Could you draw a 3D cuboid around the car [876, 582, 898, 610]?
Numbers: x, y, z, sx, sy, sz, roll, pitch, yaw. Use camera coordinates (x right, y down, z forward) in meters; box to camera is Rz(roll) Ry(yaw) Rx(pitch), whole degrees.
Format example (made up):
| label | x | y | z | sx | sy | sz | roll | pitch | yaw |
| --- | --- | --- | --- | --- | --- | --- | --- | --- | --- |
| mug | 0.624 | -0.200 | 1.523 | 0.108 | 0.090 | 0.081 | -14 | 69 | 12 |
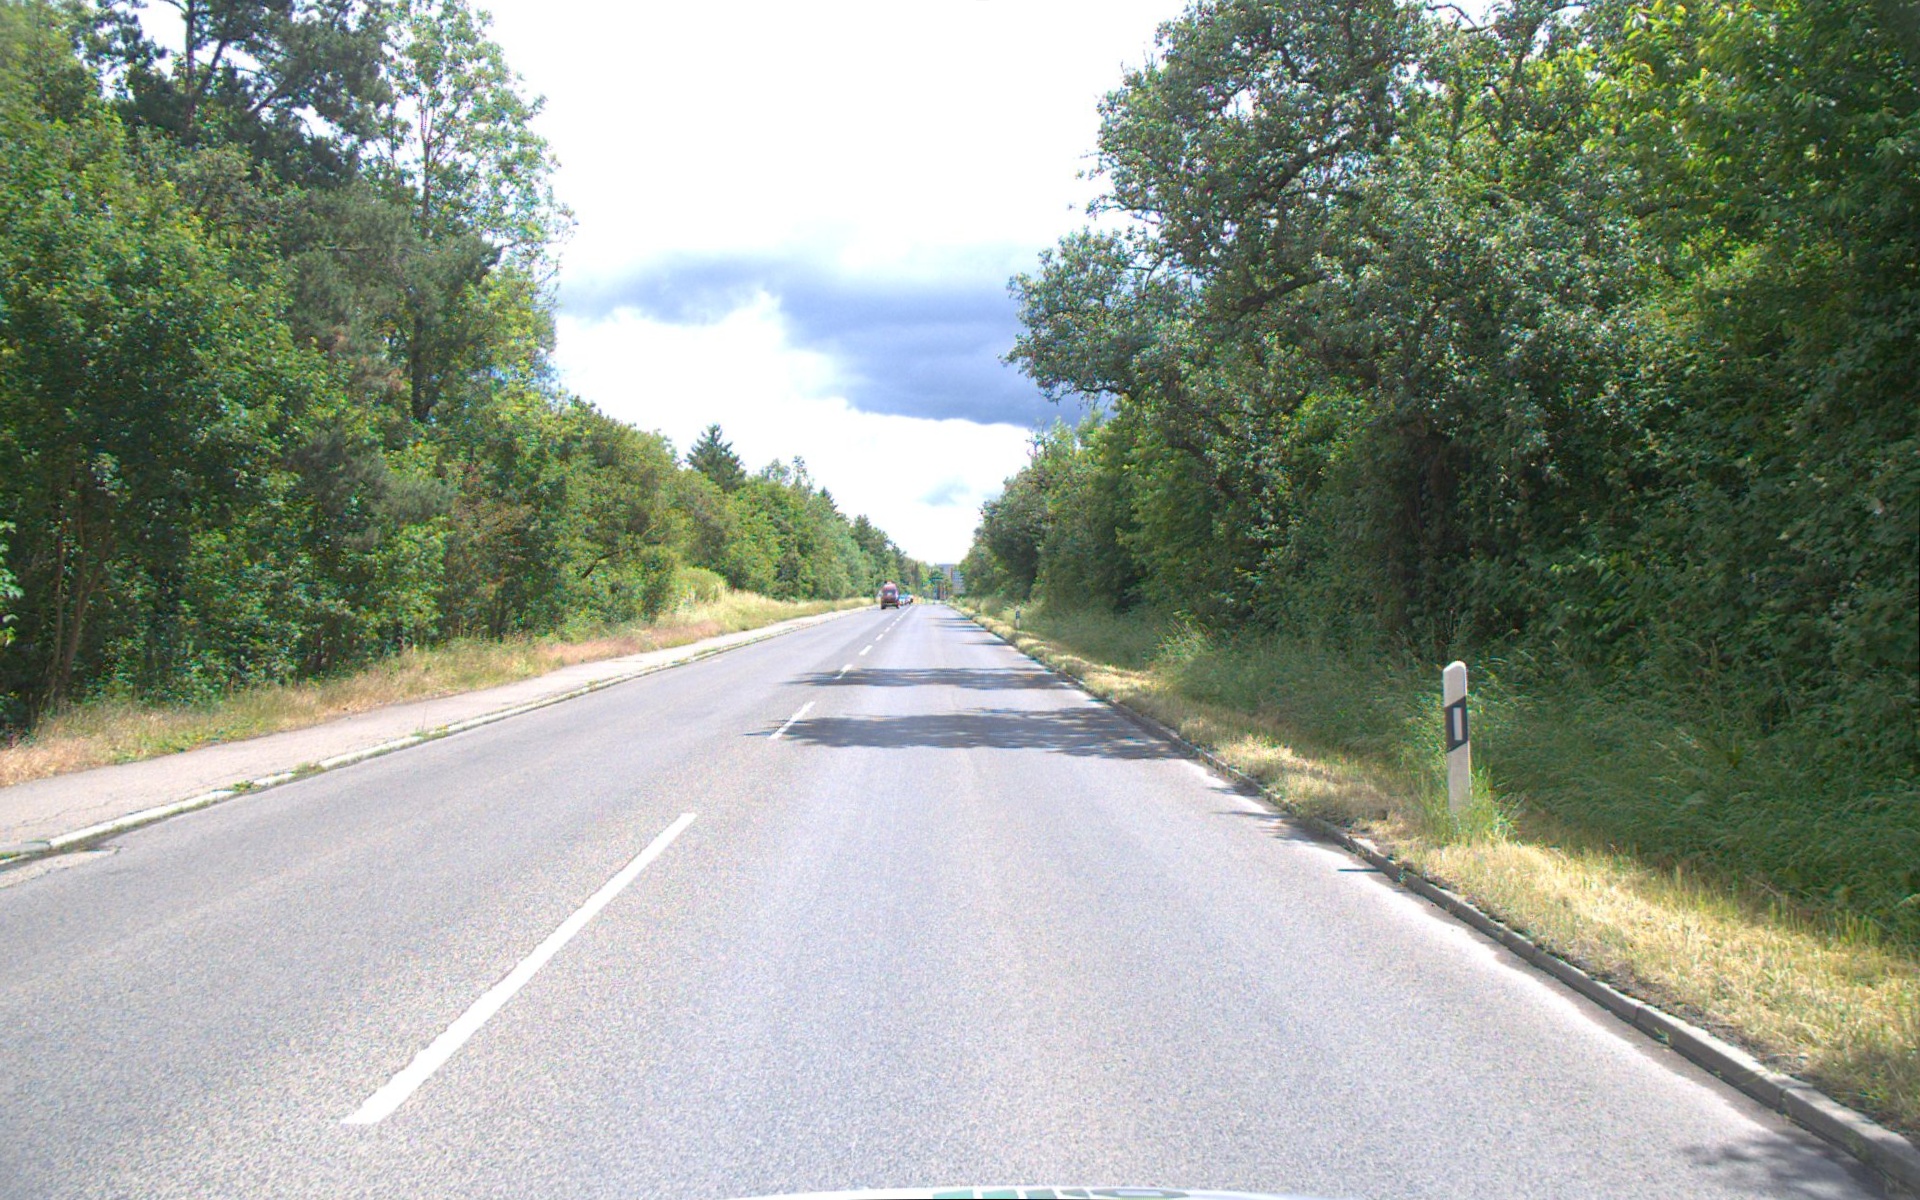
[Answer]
| label | x | y | z | sx | sy | sz | roll | pitch | yaw |
| --- | --- | --- | --- | --- | --- | --- | --- | --- | --- |
| car | -7.235 | -0.410 | 164.057 | 1.929 | 2.594 | 4.723 | -3 | 0 | -1 |
